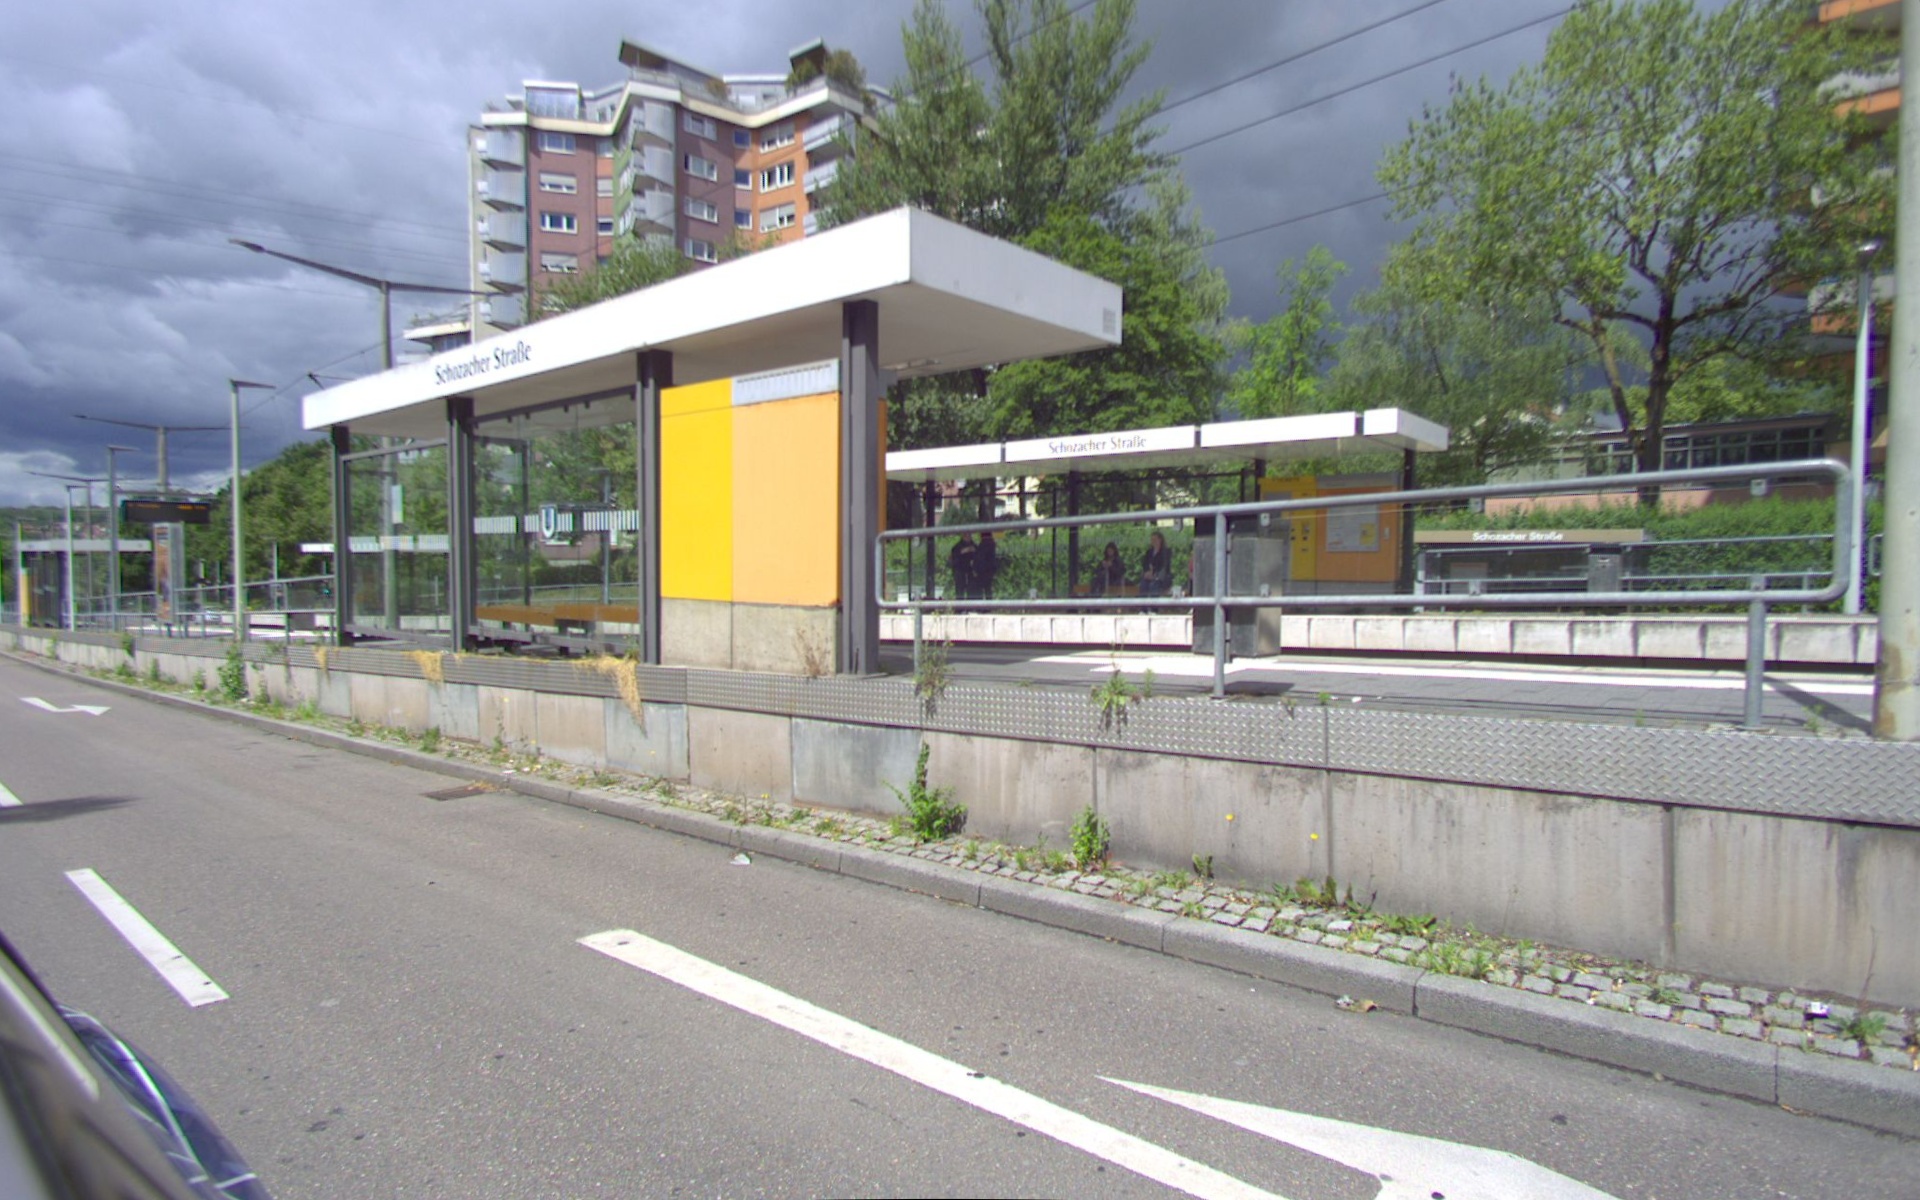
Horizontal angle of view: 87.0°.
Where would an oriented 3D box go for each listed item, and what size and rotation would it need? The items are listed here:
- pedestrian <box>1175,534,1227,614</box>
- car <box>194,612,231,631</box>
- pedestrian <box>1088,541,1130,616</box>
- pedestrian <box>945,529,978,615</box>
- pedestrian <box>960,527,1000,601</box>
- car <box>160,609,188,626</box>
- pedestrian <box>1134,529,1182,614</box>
[{"bbox_3d":[3.834,-0.404,16.115,0.517,1.246,0.734,-1,0,41],"label":"pedestrian"},{"bbox_3d":[-59.761,1.682,80.860,3.999,1.429,1.637,-1,0,42],"label":"car"},{"bbox_3d":[2.551,-0.357,17.311,0.541,1.246,0.516,-1,0,29],"label":"pedestrian"},{"bbox_3d":[0.035,-0.533,19.880,0.558,1.657,0.520,-1,0,9],"label":"pedestrian"},{"bbox_3d":[0.378,-0.694,19.362,0.520,1.390,0.537,2,1,33],"label":"pedestrian"},{"bbox_3d":[-71.766,1.607,92.378,1.635,1.524,3.740,-1,0,-45],"label":"car"},{"bbox_3d":[3.276,-0.457,16.737,0.506,1.379,0.637,-1,0,41],"label":"pedestrian"}]
